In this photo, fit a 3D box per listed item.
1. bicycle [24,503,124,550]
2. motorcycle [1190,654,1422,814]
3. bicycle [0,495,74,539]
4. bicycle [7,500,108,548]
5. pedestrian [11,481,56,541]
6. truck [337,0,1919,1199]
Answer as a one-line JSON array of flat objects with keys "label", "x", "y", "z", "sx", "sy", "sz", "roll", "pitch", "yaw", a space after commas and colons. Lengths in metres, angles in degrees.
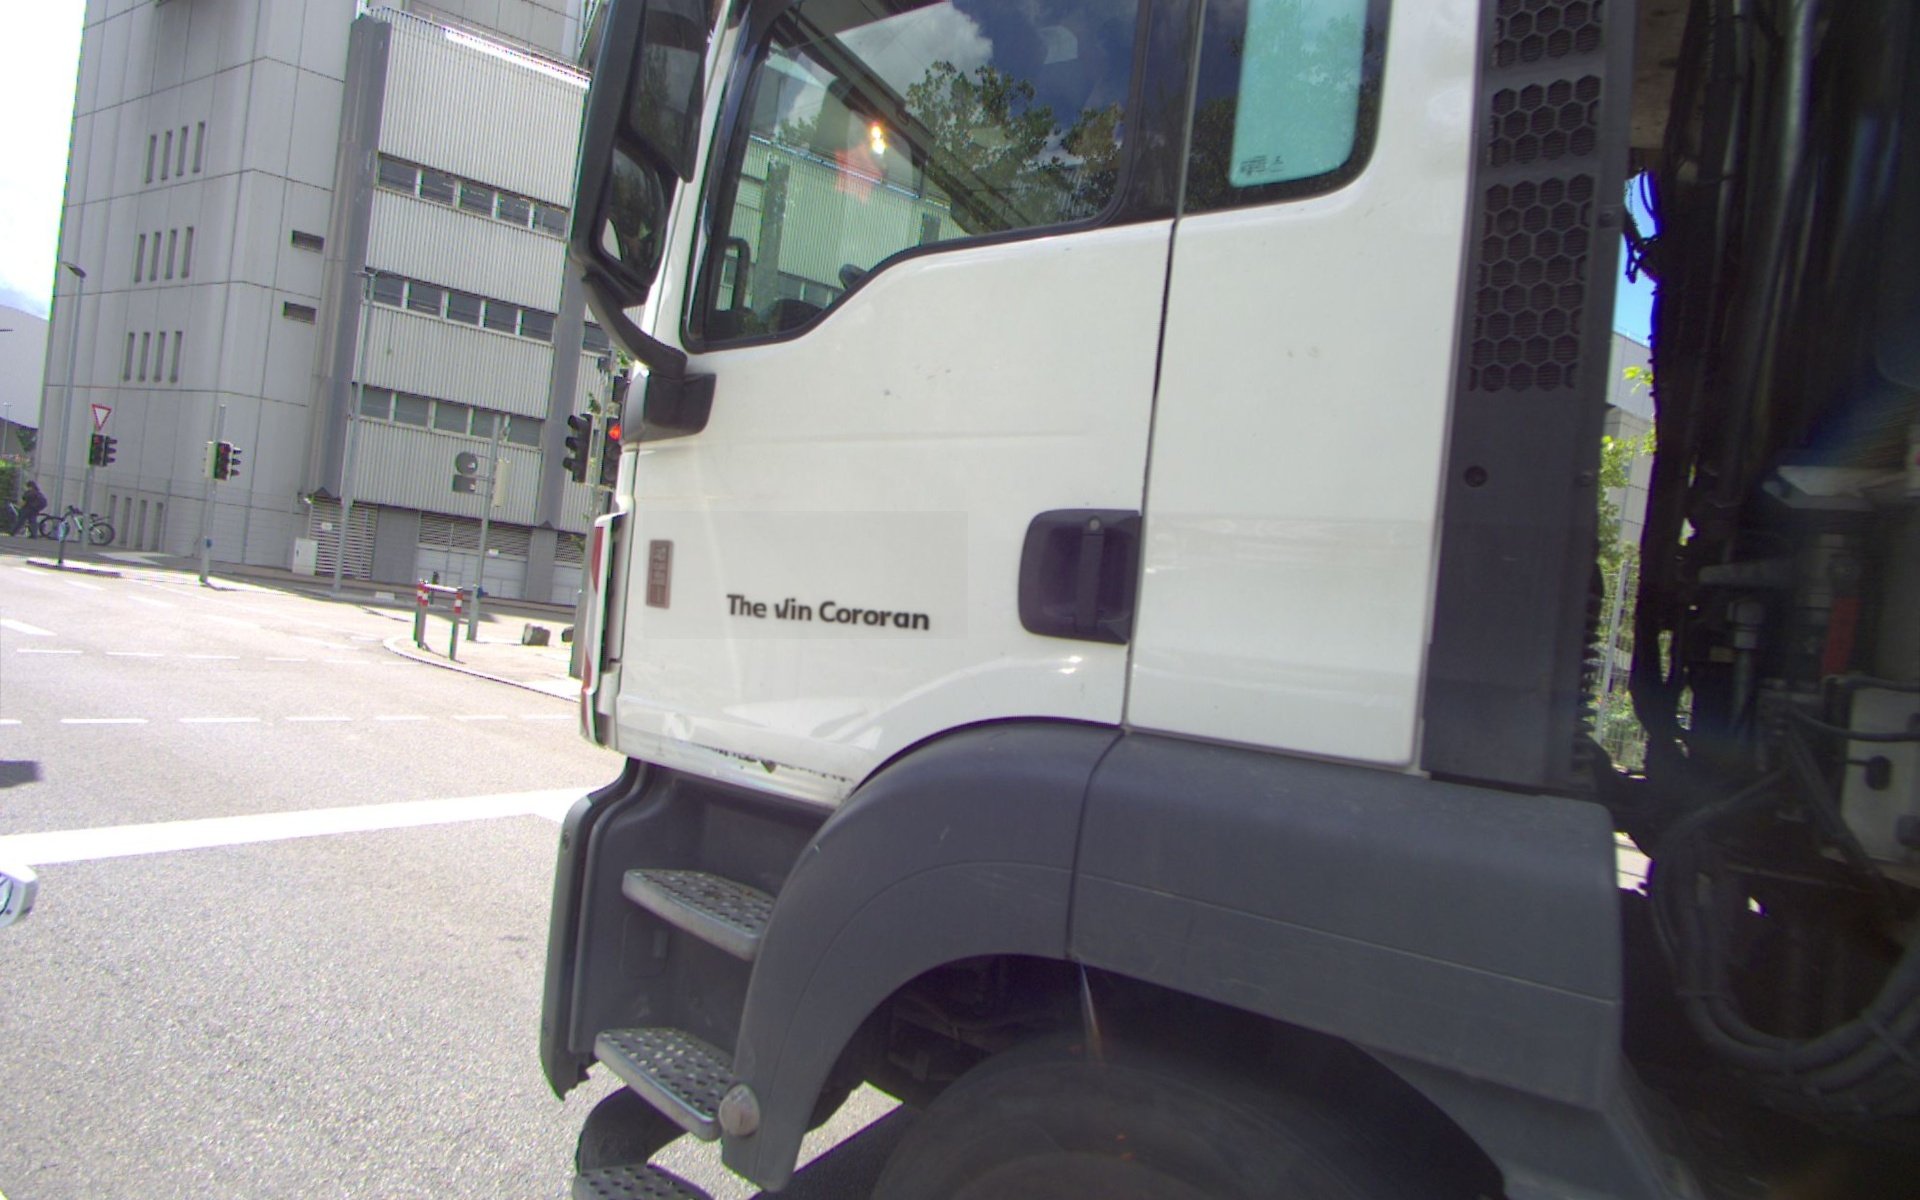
[{"label": "bicycle", "x": -27.226, "y": -2.245, "z": 30.961, "sx": 2.166, "sy": 1.099, "sz": 0.474, "roll": 8, "pitch": -1, "yaw": -23}, {"label": "motorcycle", "x": 3.419, "y": 1.267, "z": 10.020, "sx": 1.980, "sy": 1.239, "sz": 0.687, "roll": 6, "pitch": 2, "yaw": 32}, {"label": "bicycle", "x": -29.292, "y": -2.639, "z": 31.487, "sx": 2.197, "sy": 1.099, "sz": 0.474, "roll": 8, "pitch": -1, "yaw": -23}, {"label": "bicycle", "x": -27.956, "y": -2.333, "z": 31.202, "sx": 2.197, "sy": 1.099, "sz": 0.474, "roll": 8, "pitch": -1, "yaw": -23}, {"label": "pedestrian", "x": -27.695, "y": -2.654, "z": 30.078, "sx": 0.648, "sy": 1.659, "sz": 0.533, "roll": 7, "pitch": -1, "yaw": -14}, {"label": "truck", "x": 3.994, "y": -0.026, "z": 0.307, "sx": 10.003, "sy": 3.958, "sz": 2.494, "roll": 6, "pitch": -1, "yaw": 31}]
